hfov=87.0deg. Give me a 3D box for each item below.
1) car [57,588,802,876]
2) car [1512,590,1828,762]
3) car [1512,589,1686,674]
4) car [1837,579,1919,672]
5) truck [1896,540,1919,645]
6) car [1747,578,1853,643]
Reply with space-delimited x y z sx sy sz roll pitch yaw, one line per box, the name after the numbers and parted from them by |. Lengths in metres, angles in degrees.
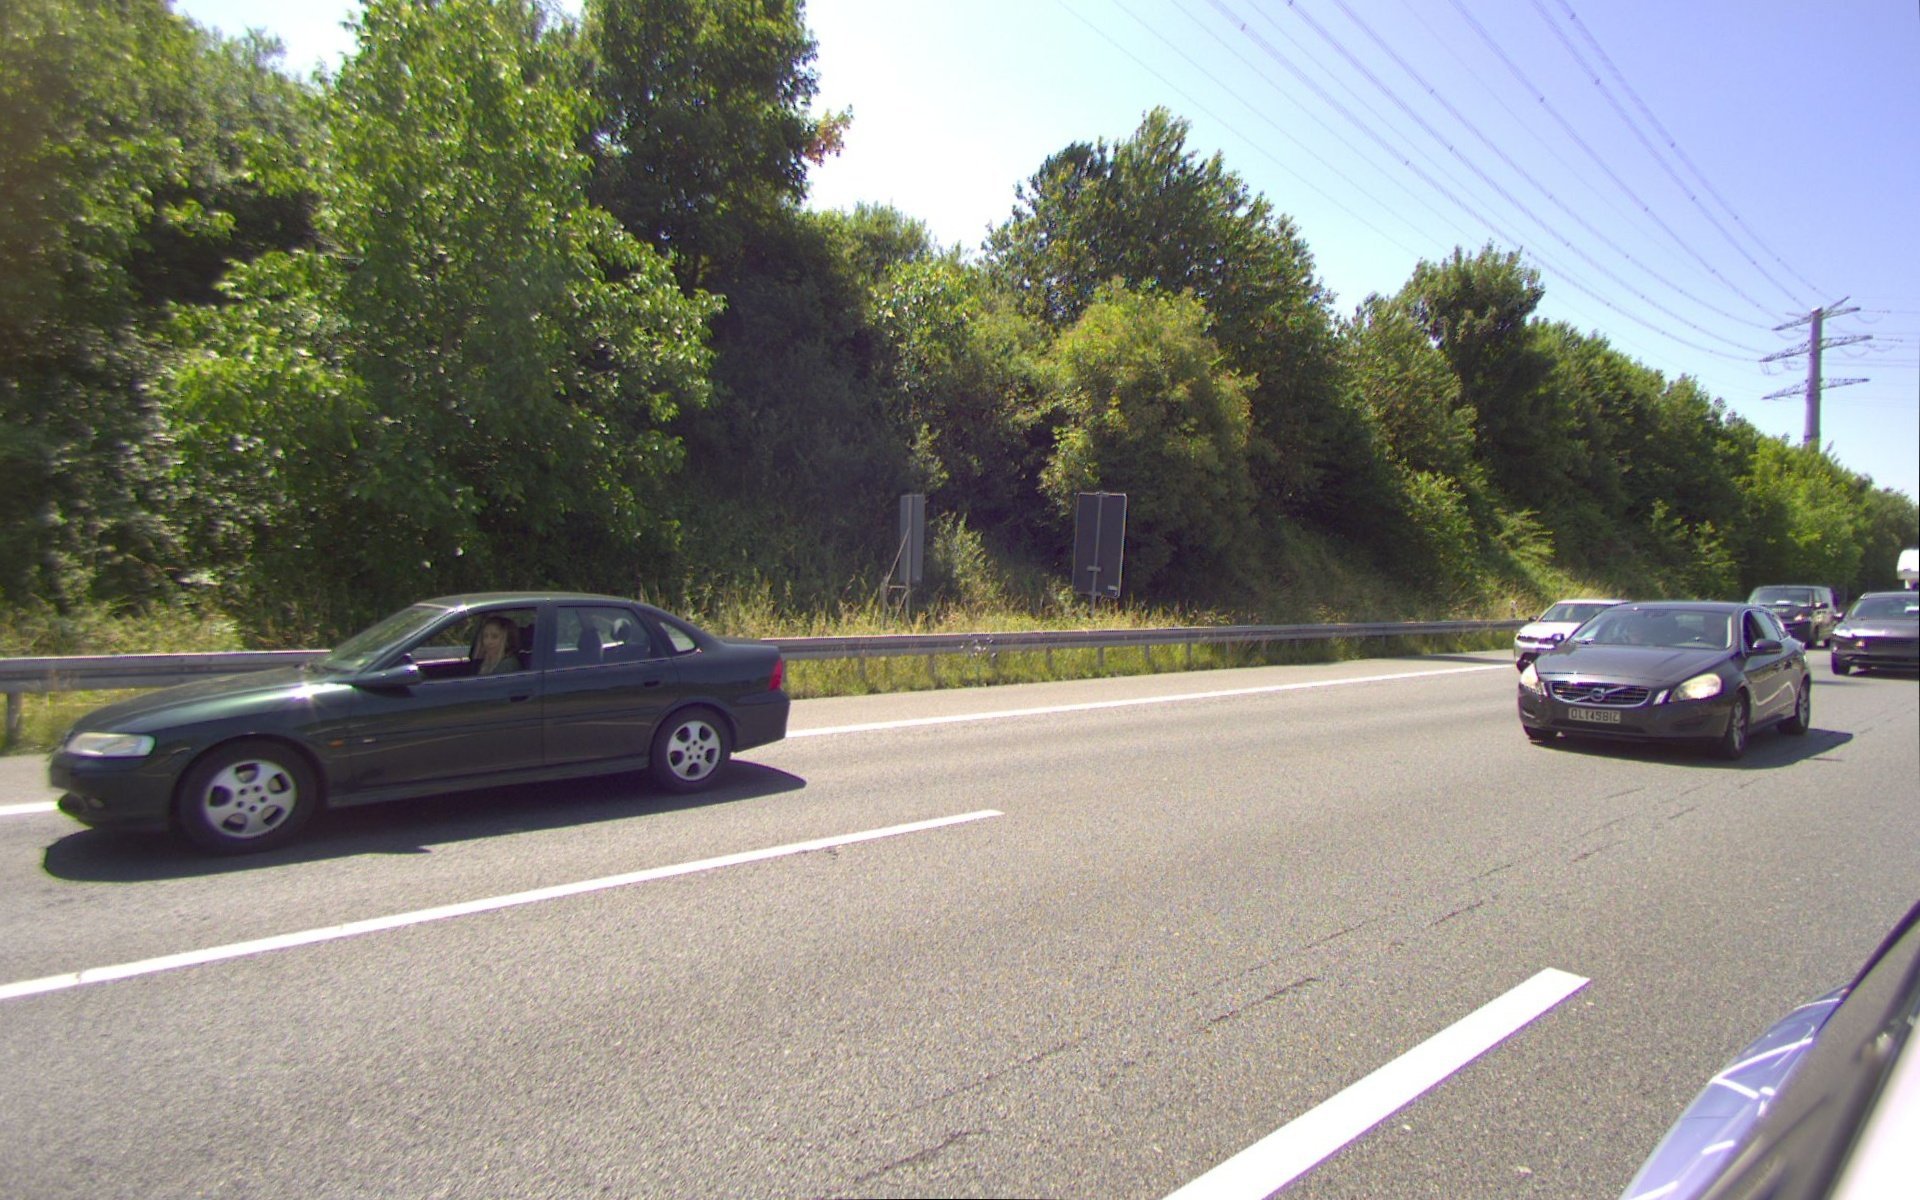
-3.352 0.623 6.966 4.227 1.395 1.737 0 0 -41 | car
7.568 0.626 10.632 4.157 1.455 1.799 0 1 -41 | car
12.551 0.546 19.792 3.942 1.488 1.744 0 0 -40 | car
19.224 0.457 20.321 4.307 1.724 1.890 0 0 -41 | car
32.049 -0.241 31.779 9.719 3.053 2.514 0 0 -39 | truck
26.691 0.287 32.114 4.615 1.928 1.787 0 0 -40 | car
